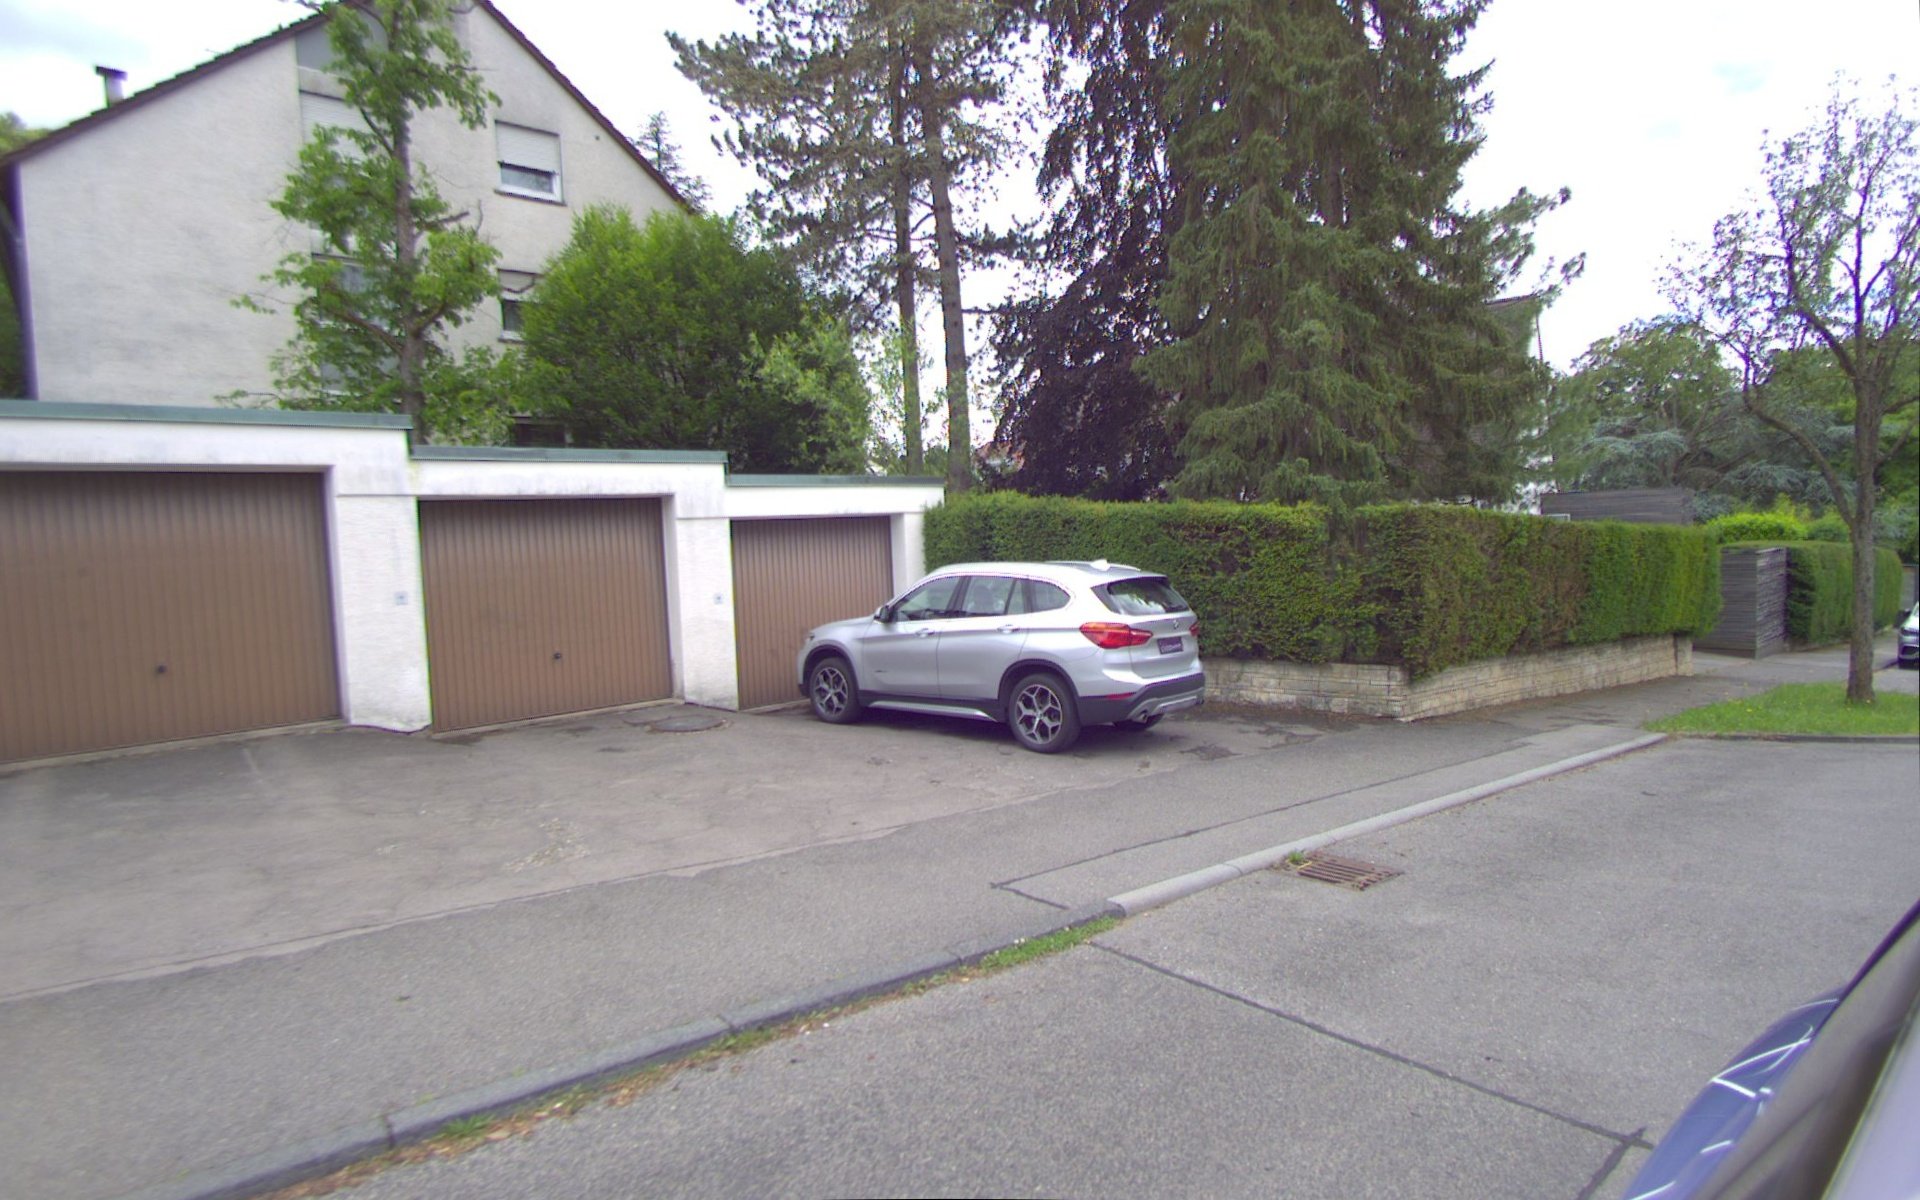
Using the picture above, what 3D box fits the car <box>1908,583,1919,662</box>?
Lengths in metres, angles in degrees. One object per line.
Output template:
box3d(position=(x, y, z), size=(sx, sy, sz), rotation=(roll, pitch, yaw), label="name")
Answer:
box3d(position=(21.600, 0.439, 21.498), size=(4.102, 1.602, 1.857), rotation=(-1, 1, -43), label="car")

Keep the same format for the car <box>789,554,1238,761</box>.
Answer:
box3d(position=(0.380, 0.380, 10.013), size=(4.204, 1.619, 1.854), rotation=(2, 2, 41), label="car")
